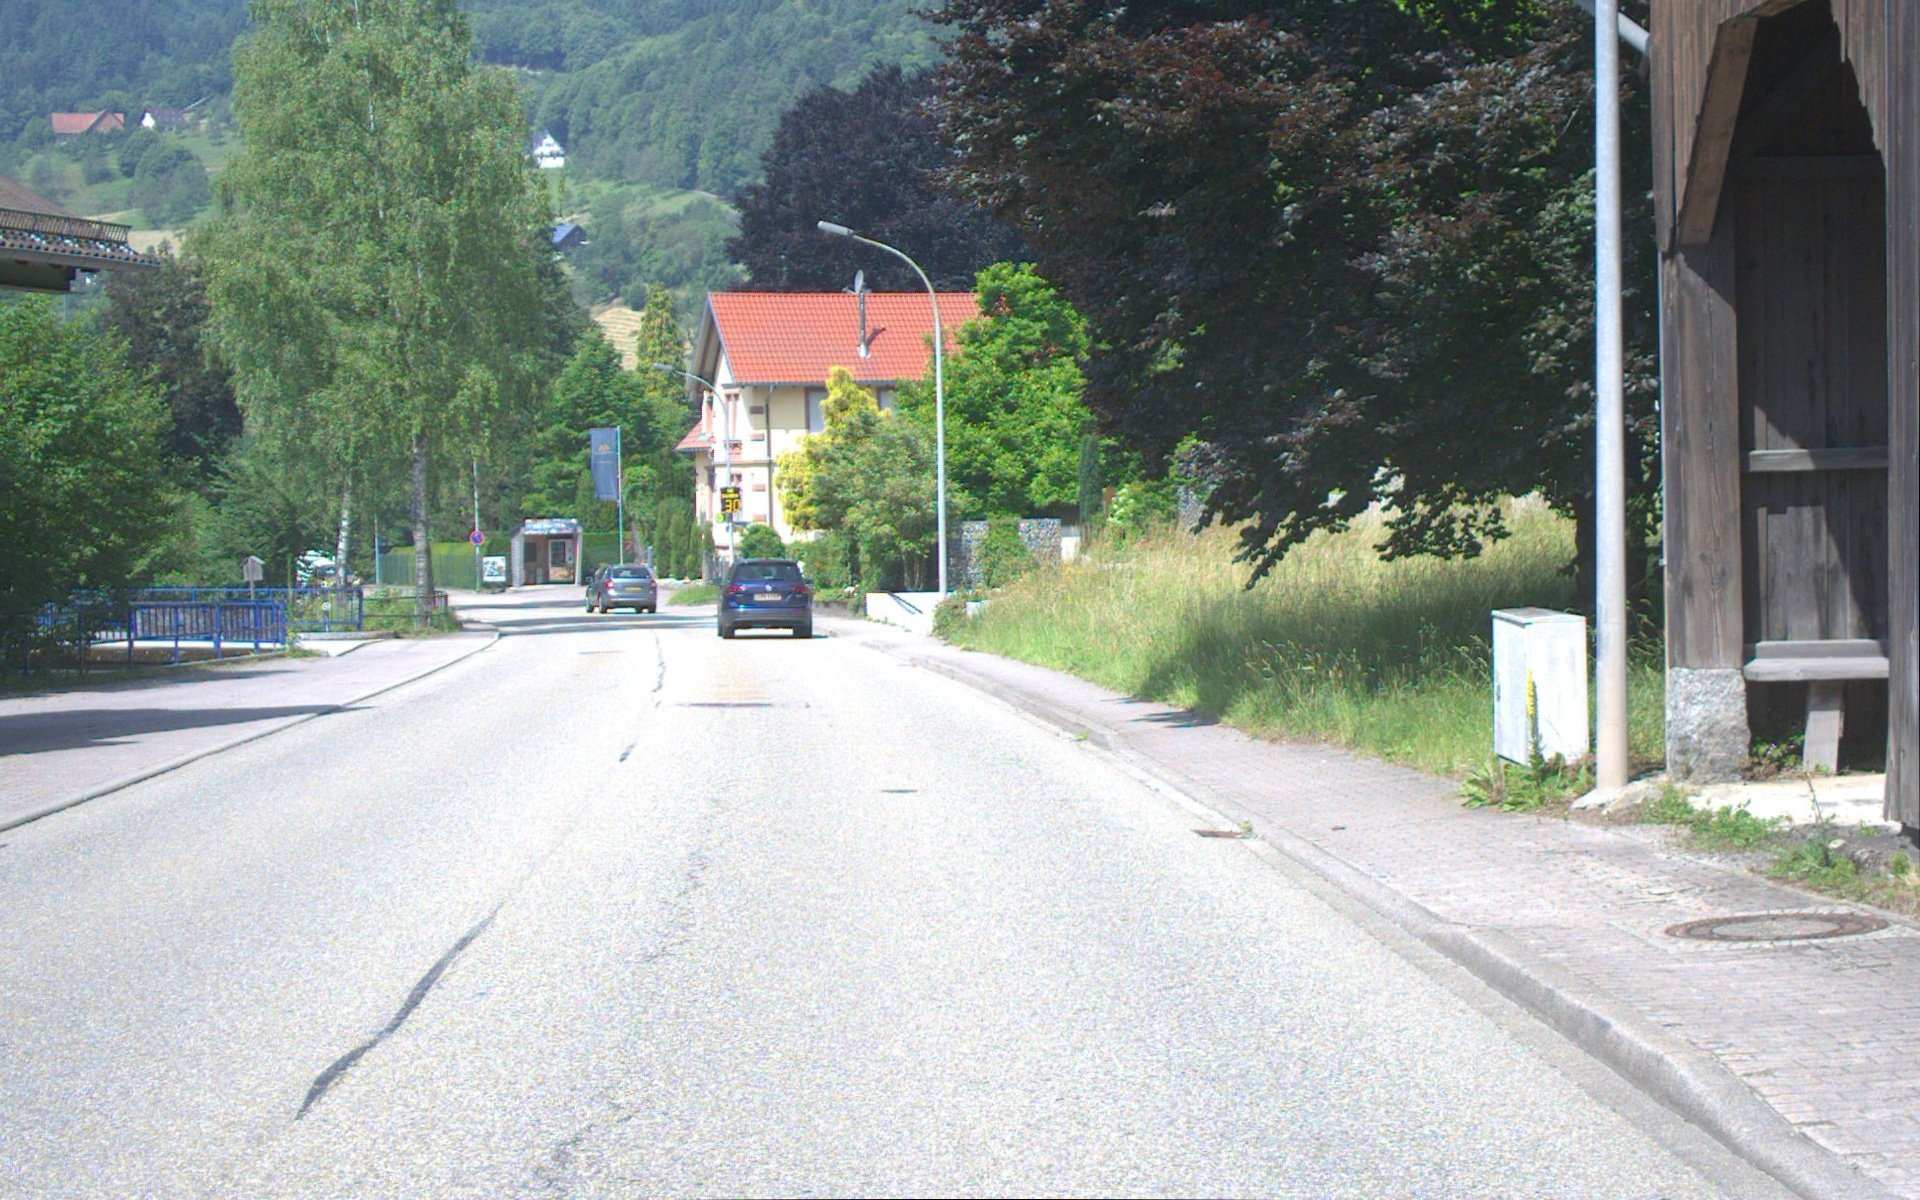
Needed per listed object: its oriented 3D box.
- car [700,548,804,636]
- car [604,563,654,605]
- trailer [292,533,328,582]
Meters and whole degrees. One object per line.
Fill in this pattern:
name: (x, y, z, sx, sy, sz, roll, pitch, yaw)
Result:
car: (-4.278, -0.176, 70.258, 1.919, 1.692, 3.789, -2, 1, -6)
car: (-10.100, -0.490, 105.083, 1.476, 1.205, 2.384, -2, 1, -5)
trailer: (-28.476, -1.853, 150.595, 1.466, 2.070, 3.671, -2, 1, -11)
